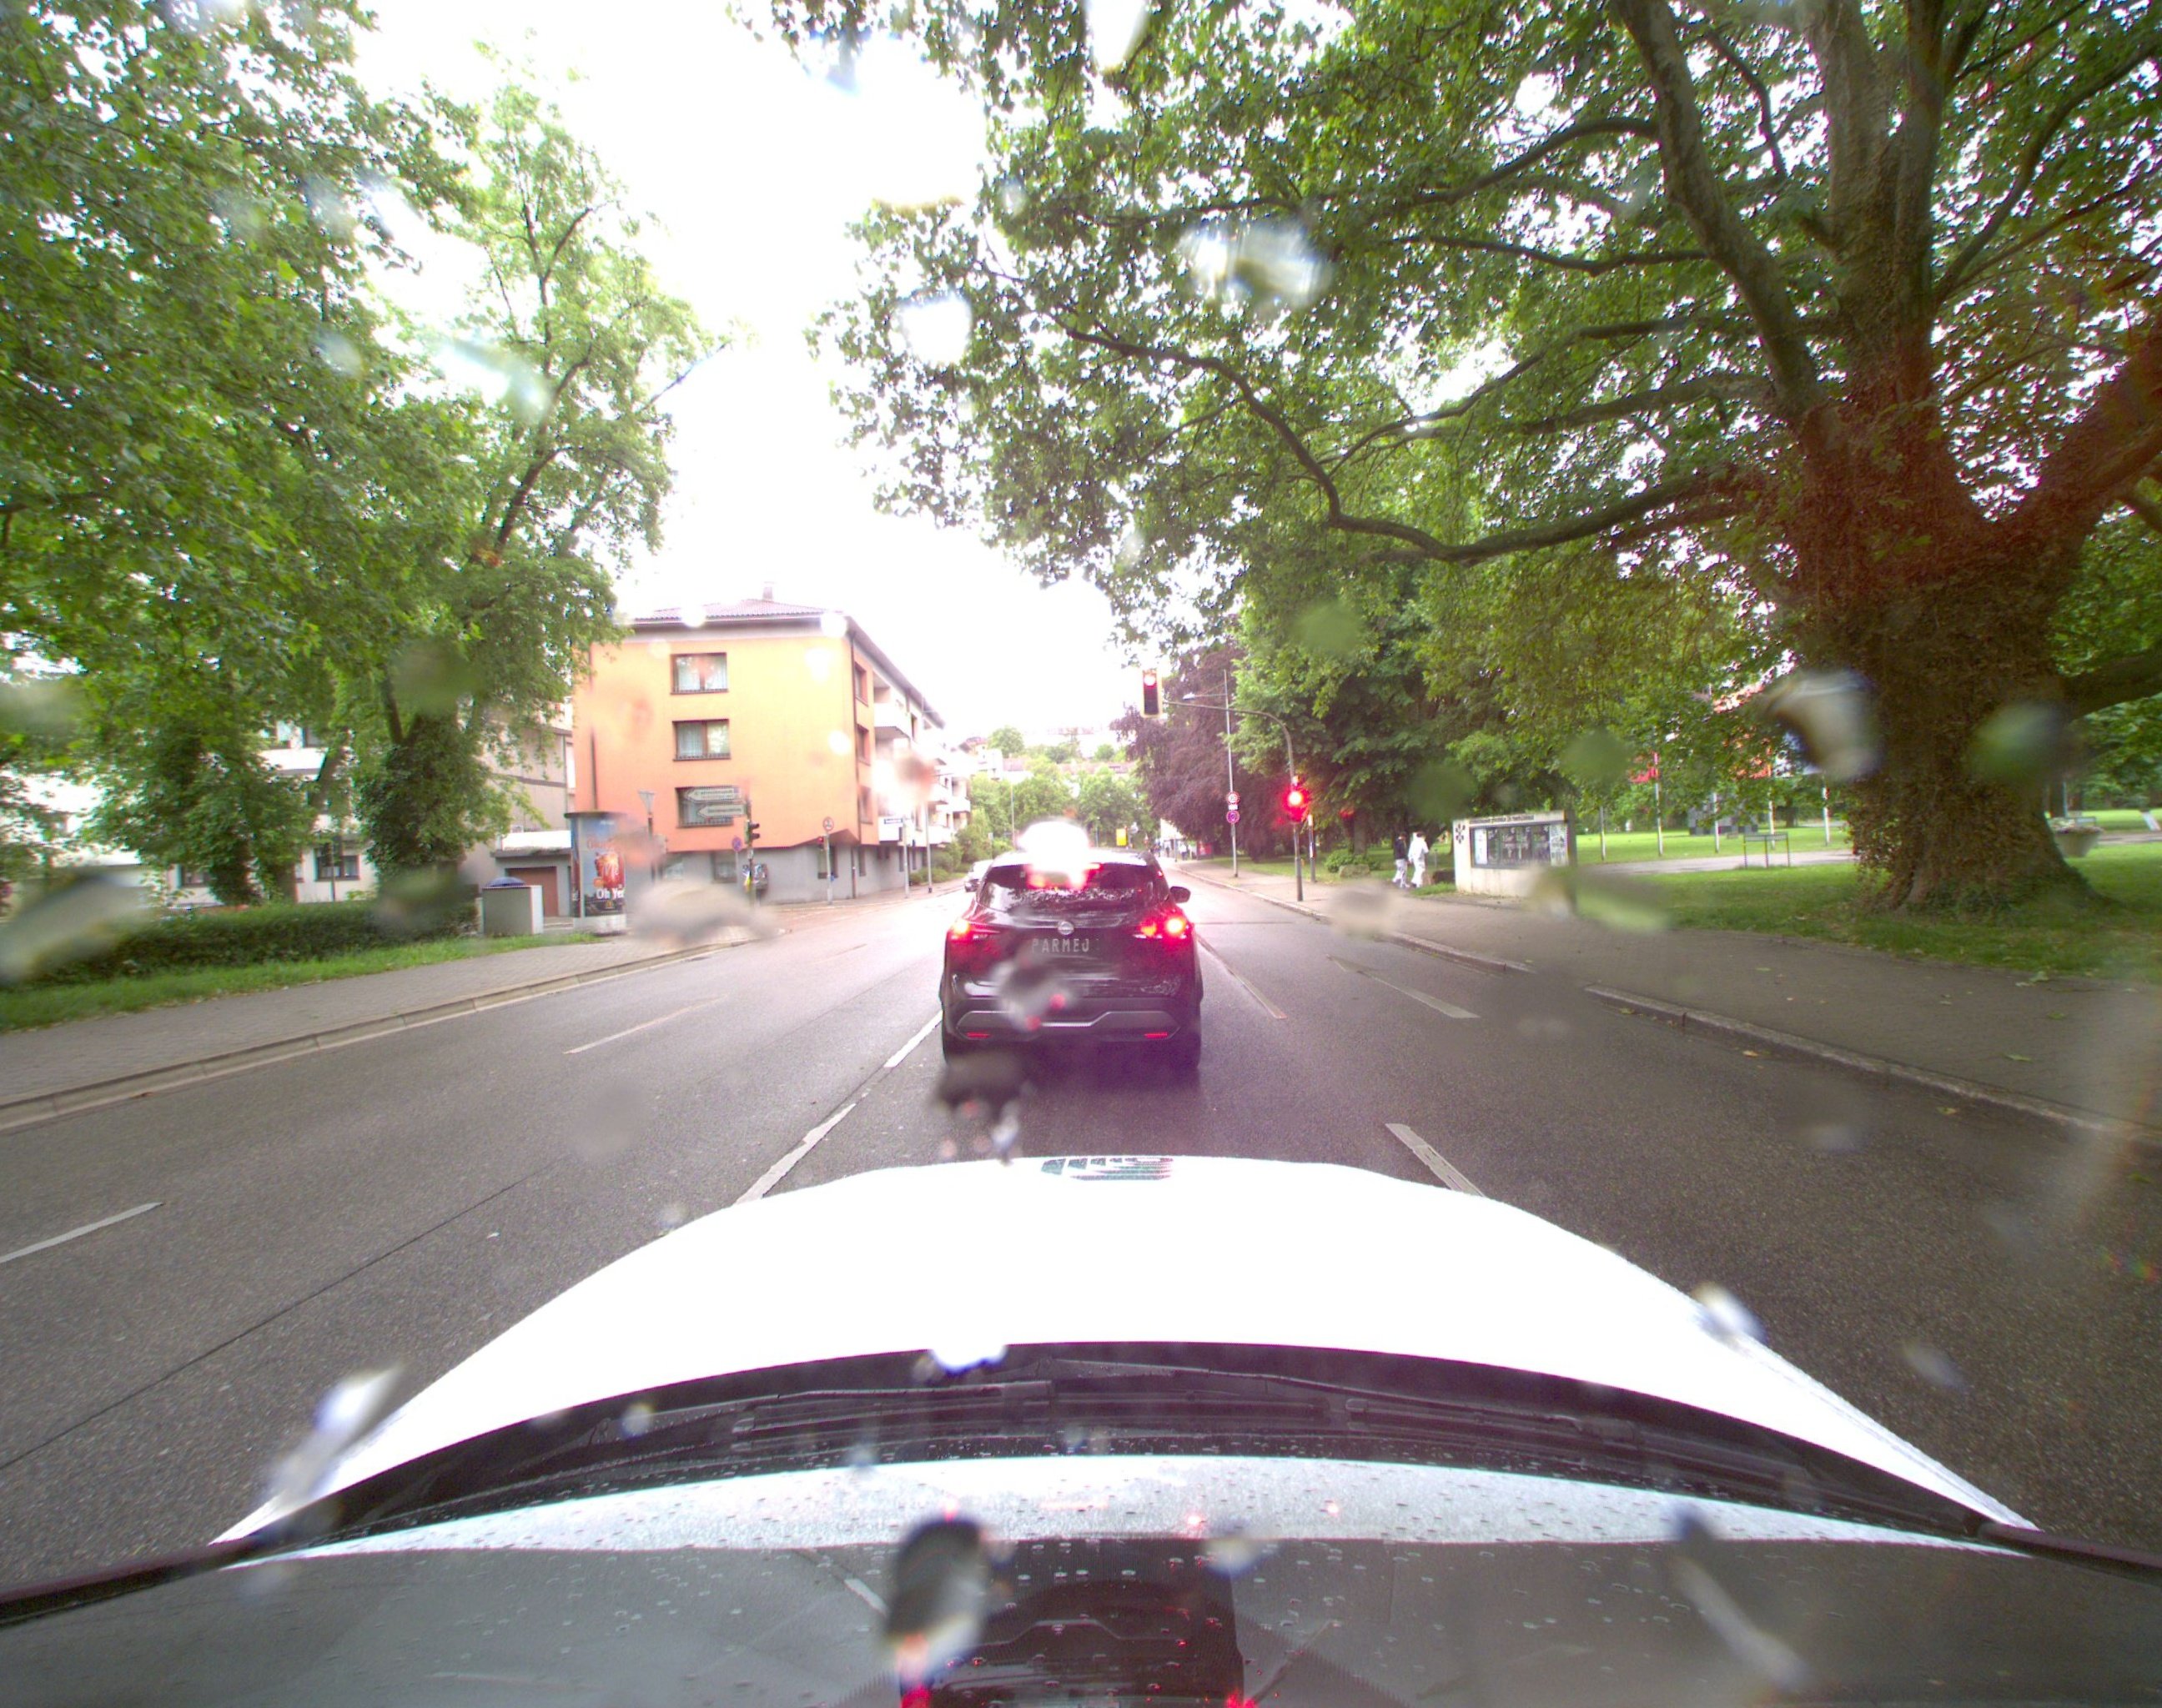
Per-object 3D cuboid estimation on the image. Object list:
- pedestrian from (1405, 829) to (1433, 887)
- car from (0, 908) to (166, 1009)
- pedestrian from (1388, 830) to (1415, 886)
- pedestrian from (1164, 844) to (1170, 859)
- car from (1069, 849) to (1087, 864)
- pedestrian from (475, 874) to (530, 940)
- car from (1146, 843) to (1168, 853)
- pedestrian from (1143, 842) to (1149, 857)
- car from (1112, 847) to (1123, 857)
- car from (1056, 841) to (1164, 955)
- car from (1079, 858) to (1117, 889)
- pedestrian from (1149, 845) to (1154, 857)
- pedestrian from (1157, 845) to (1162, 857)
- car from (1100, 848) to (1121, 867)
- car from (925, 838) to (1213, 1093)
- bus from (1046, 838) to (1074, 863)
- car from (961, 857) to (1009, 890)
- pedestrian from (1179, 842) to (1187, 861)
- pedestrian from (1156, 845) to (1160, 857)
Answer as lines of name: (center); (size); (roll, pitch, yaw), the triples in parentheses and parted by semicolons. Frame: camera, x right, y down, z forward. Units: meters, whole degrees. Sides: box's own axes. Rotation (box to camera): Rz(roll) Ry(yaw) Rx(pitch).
pedestrian: (10.215, 0.118, 24.603); (0.502, 1.721, 0.559); (-3, 0, -5)
car: (-18.002, 1.736, 13.817); (3.182, 1.524, 1.507); (0, -1, -1)
pedestrian: (10.096, 0.128, 25.663); (0.484, 1.721, 0.559); (-3, 0, -5)
pedestrian: (10.685, -0.273, 100.855); (0.616, 1.779, 0.551); (-3, 0, 1)
car: (-0.247, 0.276, 84.088); (1.618, 1.415, 3.456); (-3, 0, 2)
pedestrian: (-15.988, 1.434, 22.532); (0.996, 1.742, 1.200); (-1, 0, -24)
car: (15.170, -1.240, 163.320); (3.986, 1.684, 1.994); (-3, 0, -9)
pedestrian: (9.726, -0.628, 122.059); (0.764, 2.183, 0.712); (0, -1, 5)
car: (6.180, -0.340, 136.616); (1.743, 1.633, 3.636); (-3, 0, 2)
car: (0.567, 0.692, 14.794); (1.615, 1.709, 3.774); (-3, 0, 3)
car: (0.847, 0.932, 41.127); (1.802, 1.417, 4.031); (-2, 0, 1)
pedestrian: (9.605, -0.420, 110.953); (0.542, 1.651, 0.490); (0, -1, 2)
pedestrian: (10.670, -0.403, 110.996); (0.696, 1.651, 0.628); (0, -1, 2)
car: (2.423, 0.258, 66.324); (1.618, 1.415, 3.456); (-3, 0, 2)
car: (-0.017, 0.718, 7.114); (1.799, 1.590, 4.001); (0, -1, 2)
bus: (-2.655, -0.363, 107.149); (2.756, 2.974, 11.786); (-3, 0, 2)
car: (-4.778, 0.963, 41.204); (1.802, 1.417, 4.031); (-4, 0, 1)
pedestrian: (10.102, -0.252, 80.356); (0.616, 1.779, 0.779); (-3, 0, 1)
pedestrian: (10.377, -0.426, 109.826); (0.513, 1.655, 0.550); (0, -1, 1)
